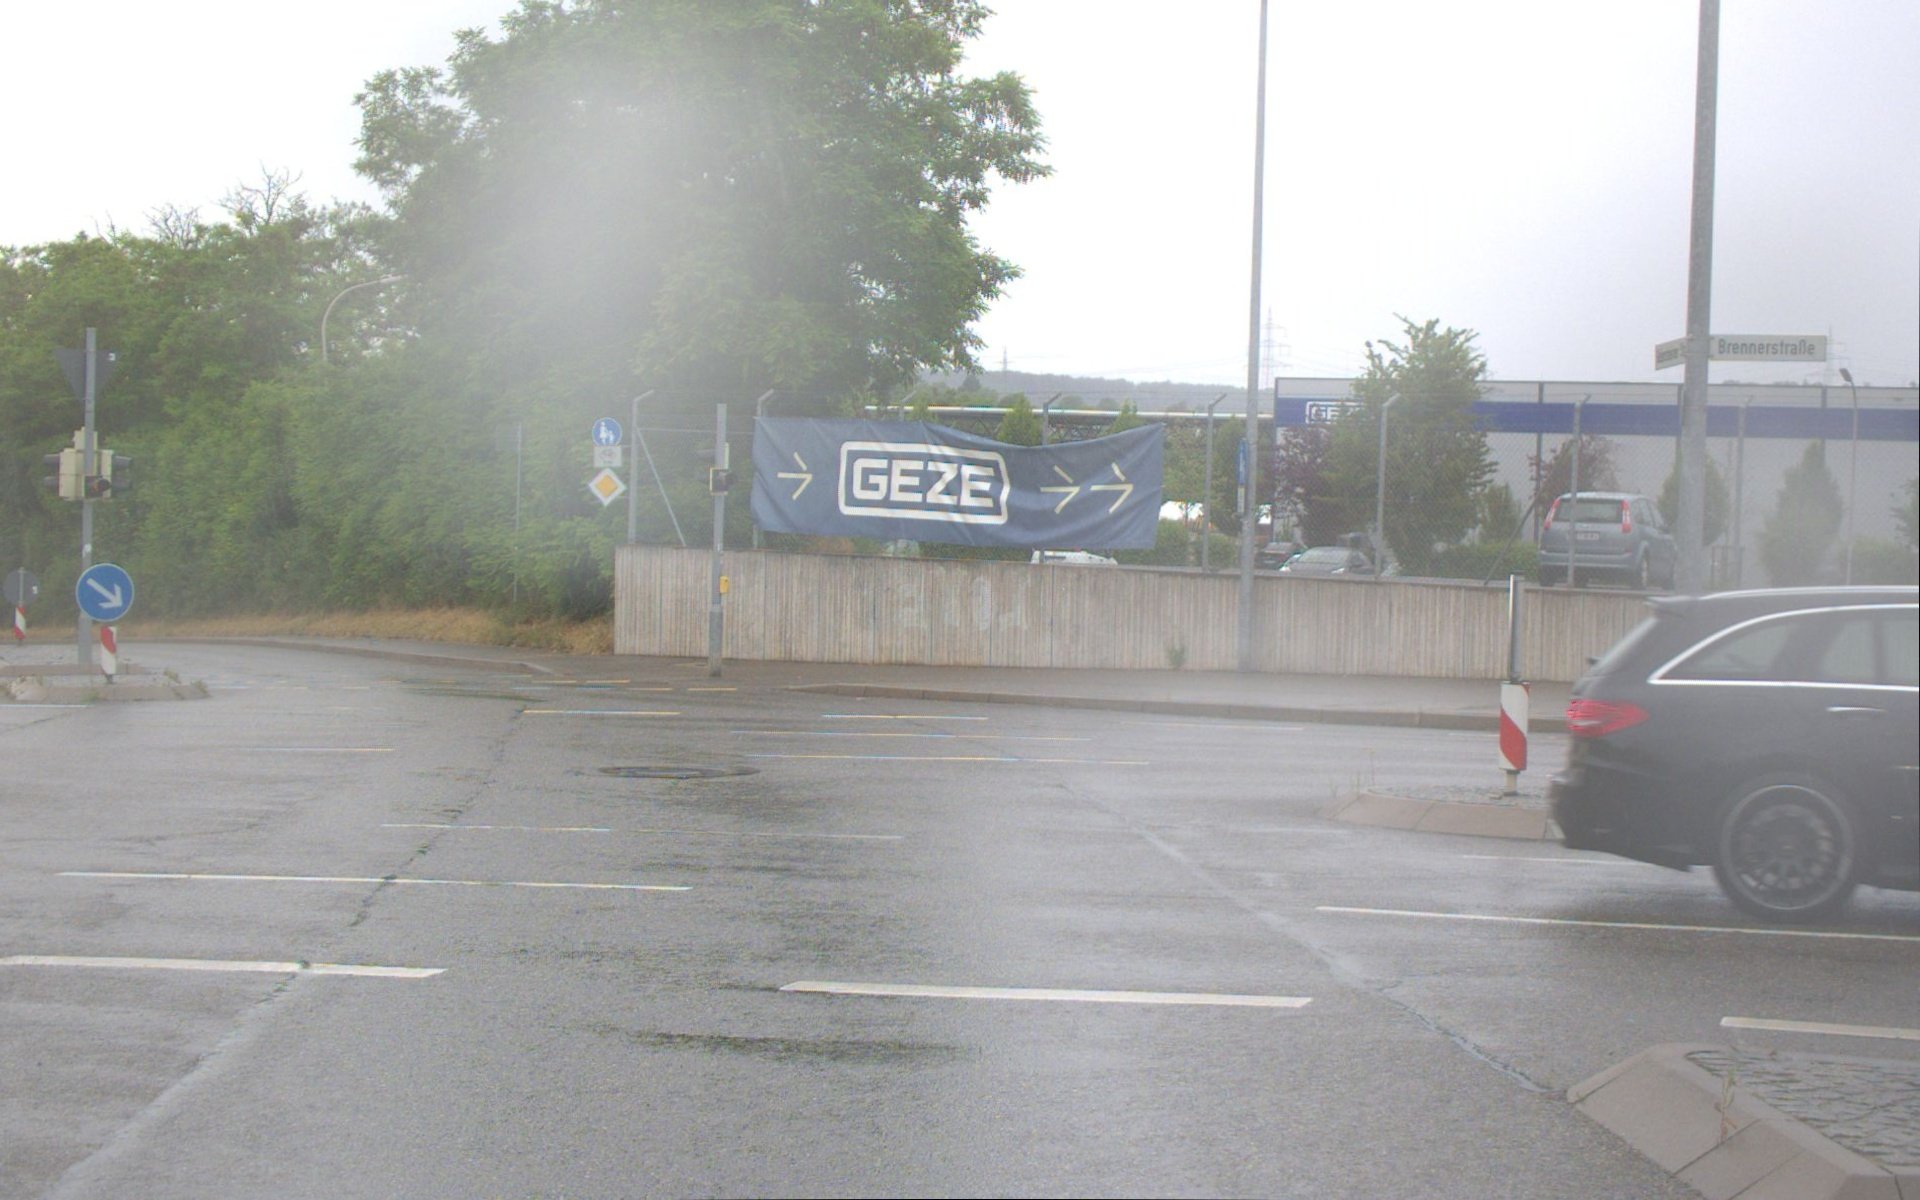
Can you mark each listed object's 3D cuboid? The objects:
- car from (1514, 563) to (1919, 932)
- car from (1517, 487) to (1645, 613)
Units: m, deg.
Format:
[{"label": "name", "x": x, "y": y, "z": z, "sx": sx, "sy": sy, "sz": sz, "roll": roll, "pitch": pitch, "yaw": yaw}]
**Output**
[{"label": "car", "x": 4.892, "y": 0.643, "z": 15.042, "sx": 4.662, "sy": 1.471, "sz": 1.999, "roll": 2, "pitch": 1, "yaw": 15}, {"label": "car", "x": 10.448, "y": -0.843, "z": 57.698, "sx": 1.994, "sy": 2.007, "sz": 3.998, "roll": 1, "pitch": 1, "yaw": 11}]
